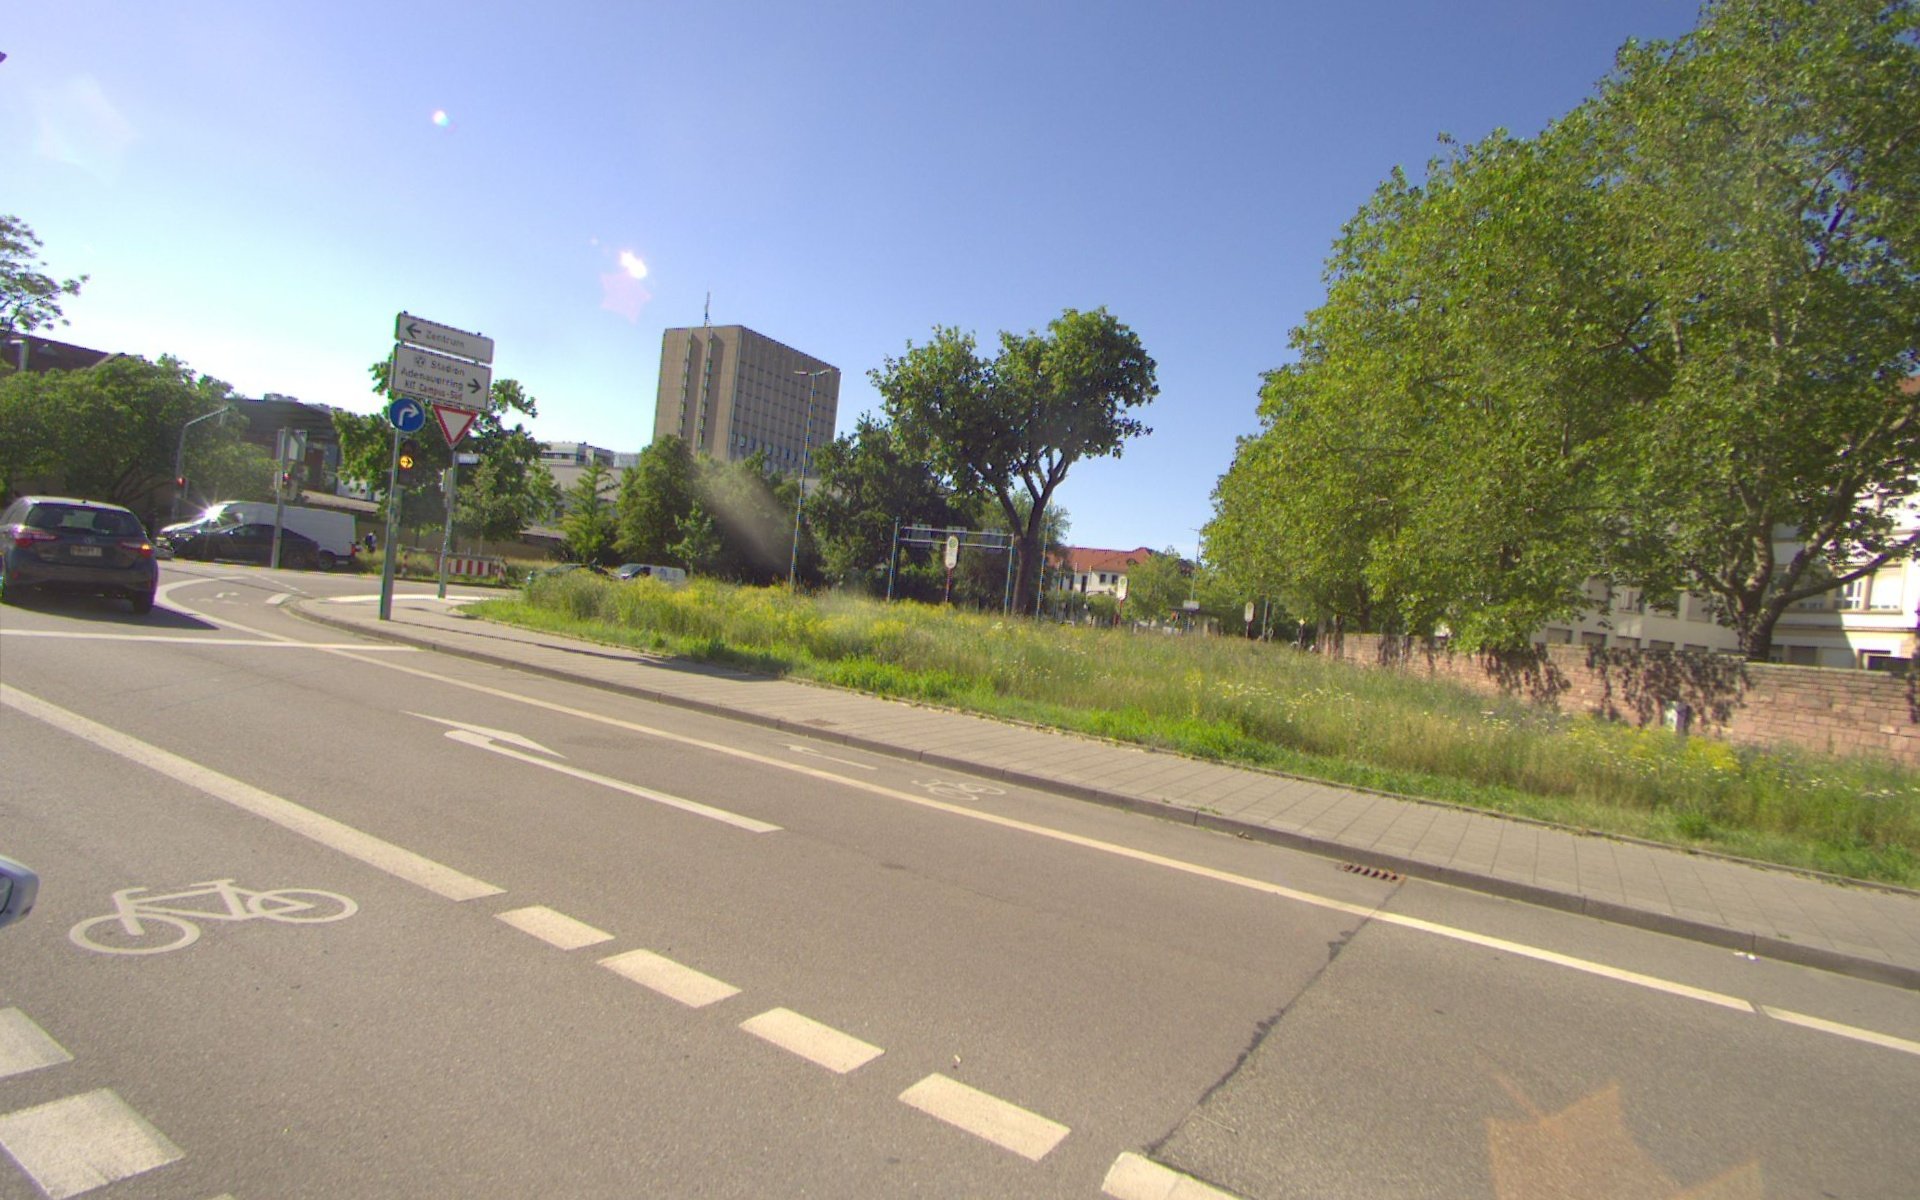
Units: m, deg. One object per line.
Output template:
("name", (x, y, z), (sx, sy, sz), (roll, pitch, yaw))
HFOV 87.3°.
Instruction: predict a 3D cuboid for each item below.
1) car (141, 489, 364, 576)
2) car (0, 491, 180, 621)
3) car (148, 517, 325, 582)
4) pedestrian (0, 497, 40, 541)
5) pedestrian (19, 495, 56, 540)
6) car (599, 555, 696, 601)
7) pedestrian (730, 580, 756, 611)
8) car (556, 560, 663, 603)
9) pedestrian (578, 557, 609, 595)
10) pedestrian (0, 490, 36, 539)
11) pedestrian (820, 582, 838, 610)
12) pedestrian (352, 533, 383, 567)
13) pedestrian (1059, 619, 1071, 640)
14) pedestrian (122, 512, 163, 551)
("car", (-29.274, -2.716, 41.914), (2.967, 2.578, 6.933), (7, 0, 37))
("car", (-13.364, -0.712, 15.134), (3.944, 1.534, 1.735), (6, -1, 41))
("car", (-27.490, -1.893, 38.371), (1.971, 1.691, 5.031), (5, -3, 38))
("pedestrian", (-37.371, -3.209, 39.867), (0.865, 1.540, 1.074), (7, 1, 36))
("pedestrian", (-38.747, -3.453, 42.256), (0.959, 1.754, 0.915), (6, 1, -40))
("car", (-17.790, -1.228, 57.520), (2.039, 2.038, 5.003), (7, 0, 33))
("pedestrian", (-15.596, -0.323, 72.382), (1.065, 2.105, 1.231), (7, 1, 35))
("car", (-18.069, -0.939, 52.051), (2.068, 1.601, 4.844), (7, 0, 35))
("pedestrian", (-22.228, -1.449, 61.018), (0.966, 2.105, 1.187), (7, 1, 35))
("pedestrian", (-38.653, -3.501, 41.255), (0.795, 1.879, 0.931), (7, 1, 40))
("pedestrian", (-10.491, -0.317, 80.458), (0.800, 2.105, 0.896), (7, 1, 35))
("pedestrian", (-30.159, -2.546, 51.233), (0.871, 1.540, 0.971), (7, 1, 35))
("pedestrian", (11.547, 3.291, 110.652), (0.633, 2.194, 0.912), (7, 1, 35))
("pedestrian", (-36.259, -3.051, 44.624), (0.927, 1.540, 1.146), (7, 1, 37))
